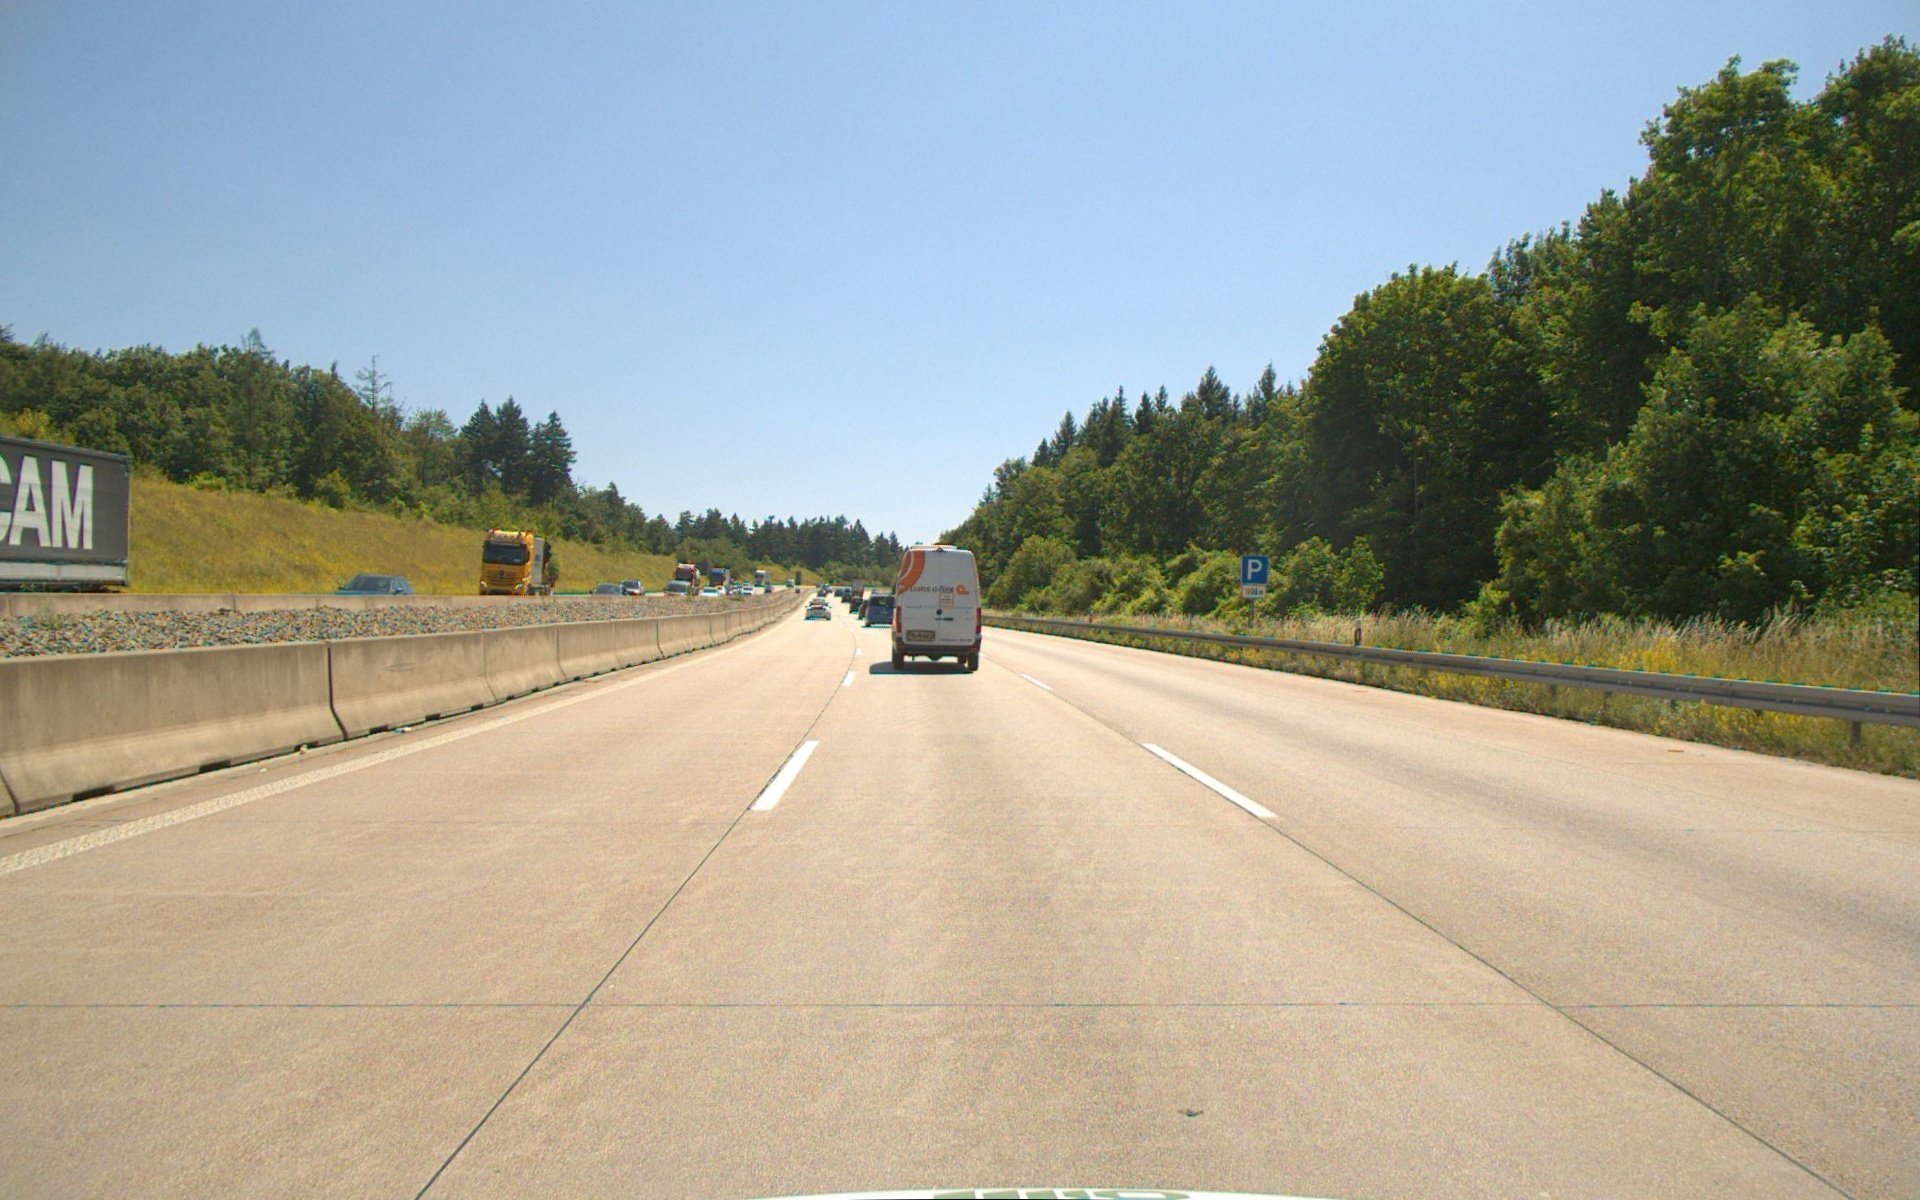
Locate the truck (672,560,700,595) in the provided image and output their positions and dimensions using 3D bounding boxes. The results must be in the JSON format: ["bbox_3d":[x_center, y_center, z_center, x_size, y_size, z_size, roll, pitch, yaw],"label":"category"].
[{"bbox_3d":[-35.448,-2.891,213.985,2.876,4.241,5.976,3,0,-5],"label":"truck"}]

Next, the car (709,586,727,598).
[{"bbox_3d":[-32.447,-1.073,221.998,1.954,1.610,4.176,3,0,-5],"label":"car"}]

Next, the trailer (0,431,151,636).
[{"bbox_3d":[-21.411,-1.448,34.740,2.875,4.241,13.180,3,0,-3],"label":"trailer"}]

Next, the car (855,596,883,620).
[{"bbox_3d":[-7.172,0.634,130.697,1.953,1.713,3.999,3,0,-1],"label":"car"}]

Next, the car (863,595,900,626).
[{"bbox_3d":[-4.627,0.623,98.173,1.953,1.713,3.999,3,0,-1],"label":"car"}]

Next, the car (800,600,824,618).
[{"bbox_3d":[-14.440,0.889,161.928,1.953,1.713,3.999,3,0,-1],"label":"car"}]

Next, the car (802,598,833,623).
[{"bbox_3d":[-10.451,0.754,121.473,1.953,1.713,3.999,3,0,-1],"label":"car"}]

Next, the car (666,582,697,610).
[{"bbox_3d":[-20.749,-0.272,123.397,1.955,2.049,4.455,1,0,-5],"label":"car"}]

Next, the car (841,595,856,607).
[{"bbox_3d":[-16.878,0.114,249.600,1.953,1.713,3.999,3,0,-1],"label":"car"}]

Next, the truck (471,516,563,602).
[{"bbox_3d":[-25.217,-2.213,94.751,2.856,4.592,11.250,1,0,-4],"label":"truck"}]

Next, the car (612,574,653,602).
[{"bbox_3d":[-24.571,-0.867,124.128,2.238,2.049,4.801,1,0,-2],"label":"car"}]

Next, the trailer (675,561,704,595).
[{"bbox_3d":[-35.891,-2.886,219.631,2.876,4.241,9.326,3,0,-5],"label":"trailer"}]

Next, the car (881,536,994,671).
[{"bbox_3d":[-0.617,0.042,38.503,2.183,2.894,5.448,1,1,-5],"label":"car"}]

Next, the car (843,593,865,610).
[{"bbox_3d":[-10.902,0.167,170.383,1.953,1.713,3.999,3,0,-1],"label":"car"}]
